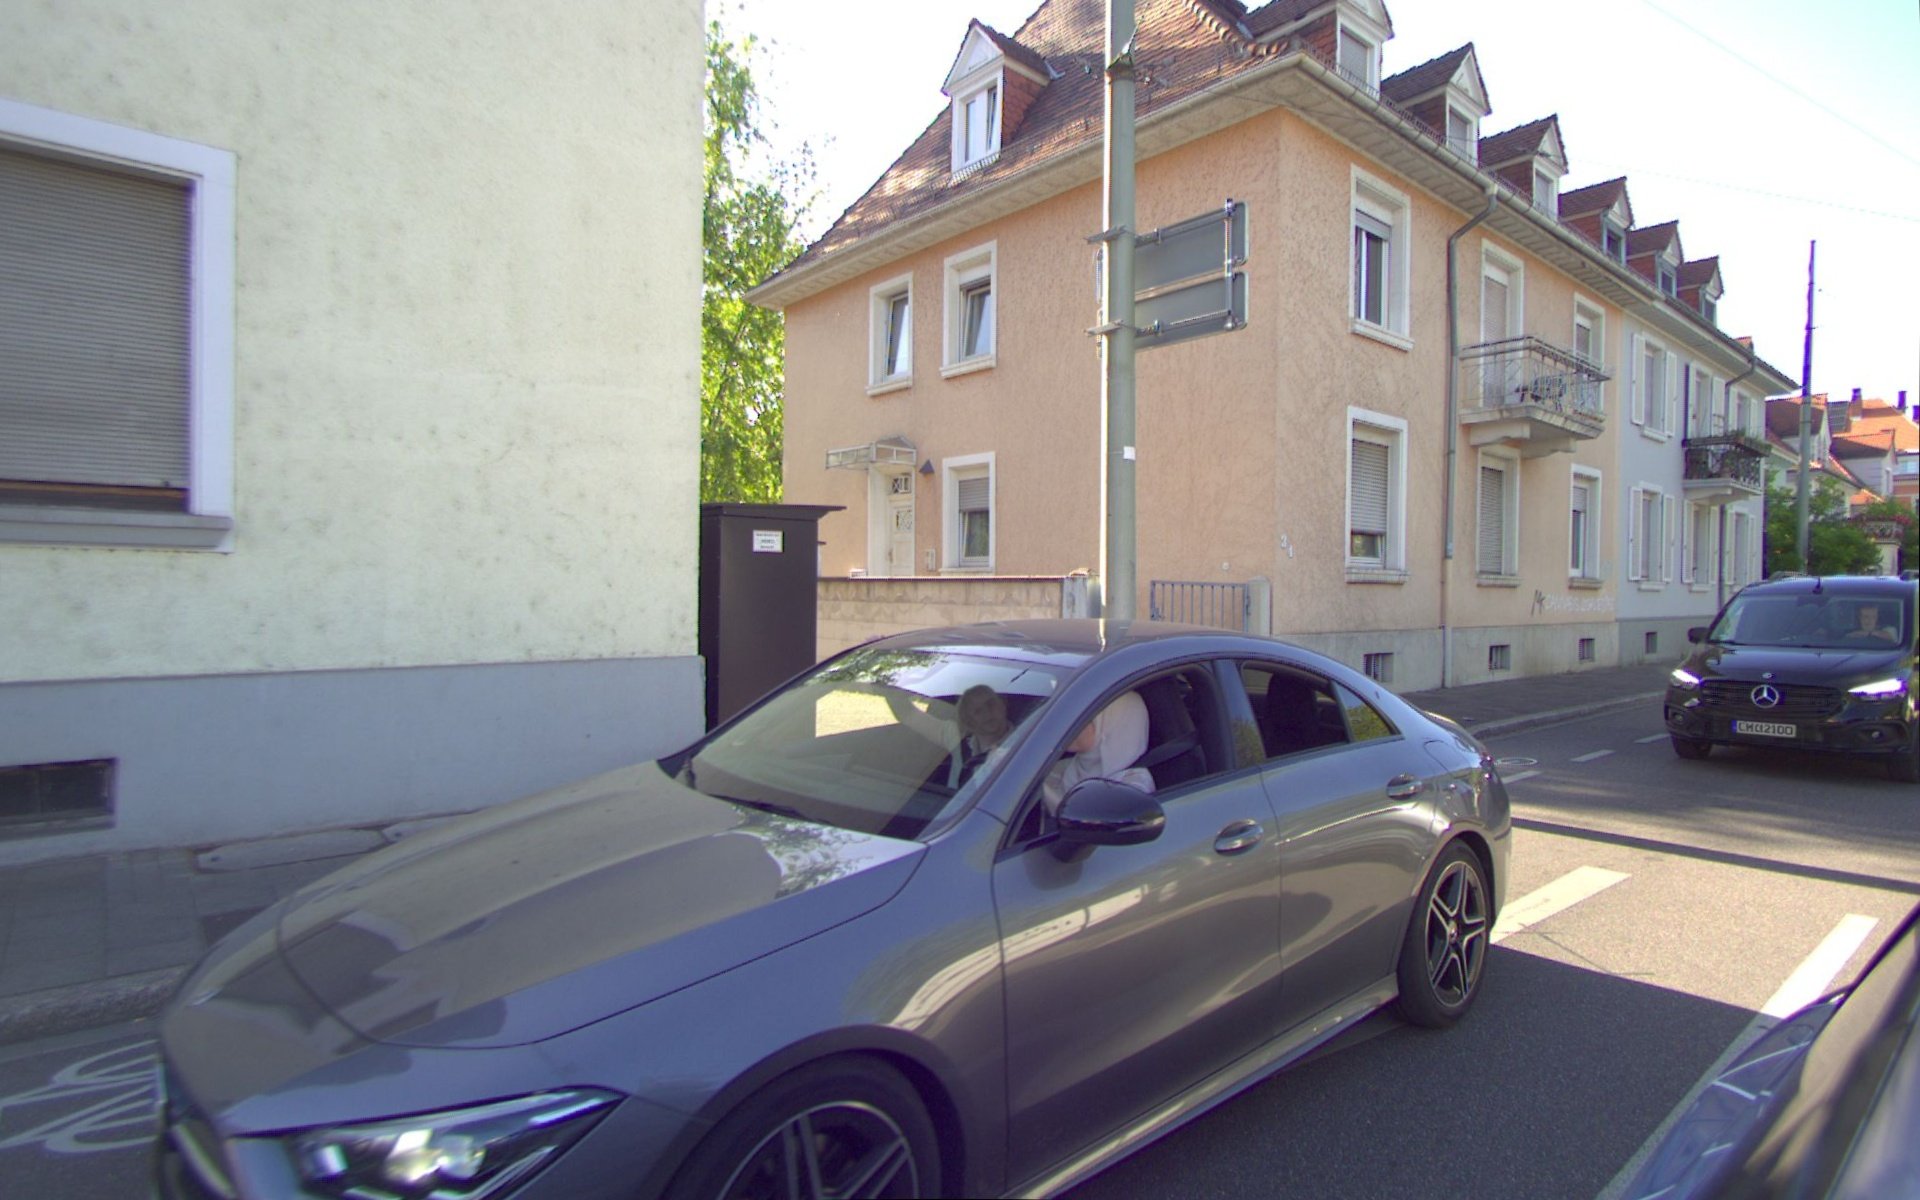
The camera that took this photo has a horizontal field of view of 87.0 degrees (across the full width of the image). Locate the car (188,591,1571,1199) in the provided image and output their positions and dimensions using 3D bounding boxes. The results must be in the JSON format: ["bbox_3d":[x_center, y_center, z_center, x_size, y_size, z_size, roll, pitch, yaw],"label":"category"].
[{"bbox_3d":[0.185,0.699,3.440,4.413,1.437,1.911,-1,0,-40],"label":"car"}]

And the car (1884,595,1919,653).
[{"bbox_3d":[26.426,0.619,27.256,3.930,1.476,1.839,-1,0,-41],"label":"car"}]

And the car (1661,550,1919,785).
[{"bbox_3d":[8.729,0.497,9.994,4.695,1.827,1.864,-1,0,-41],"label":"car"}]
